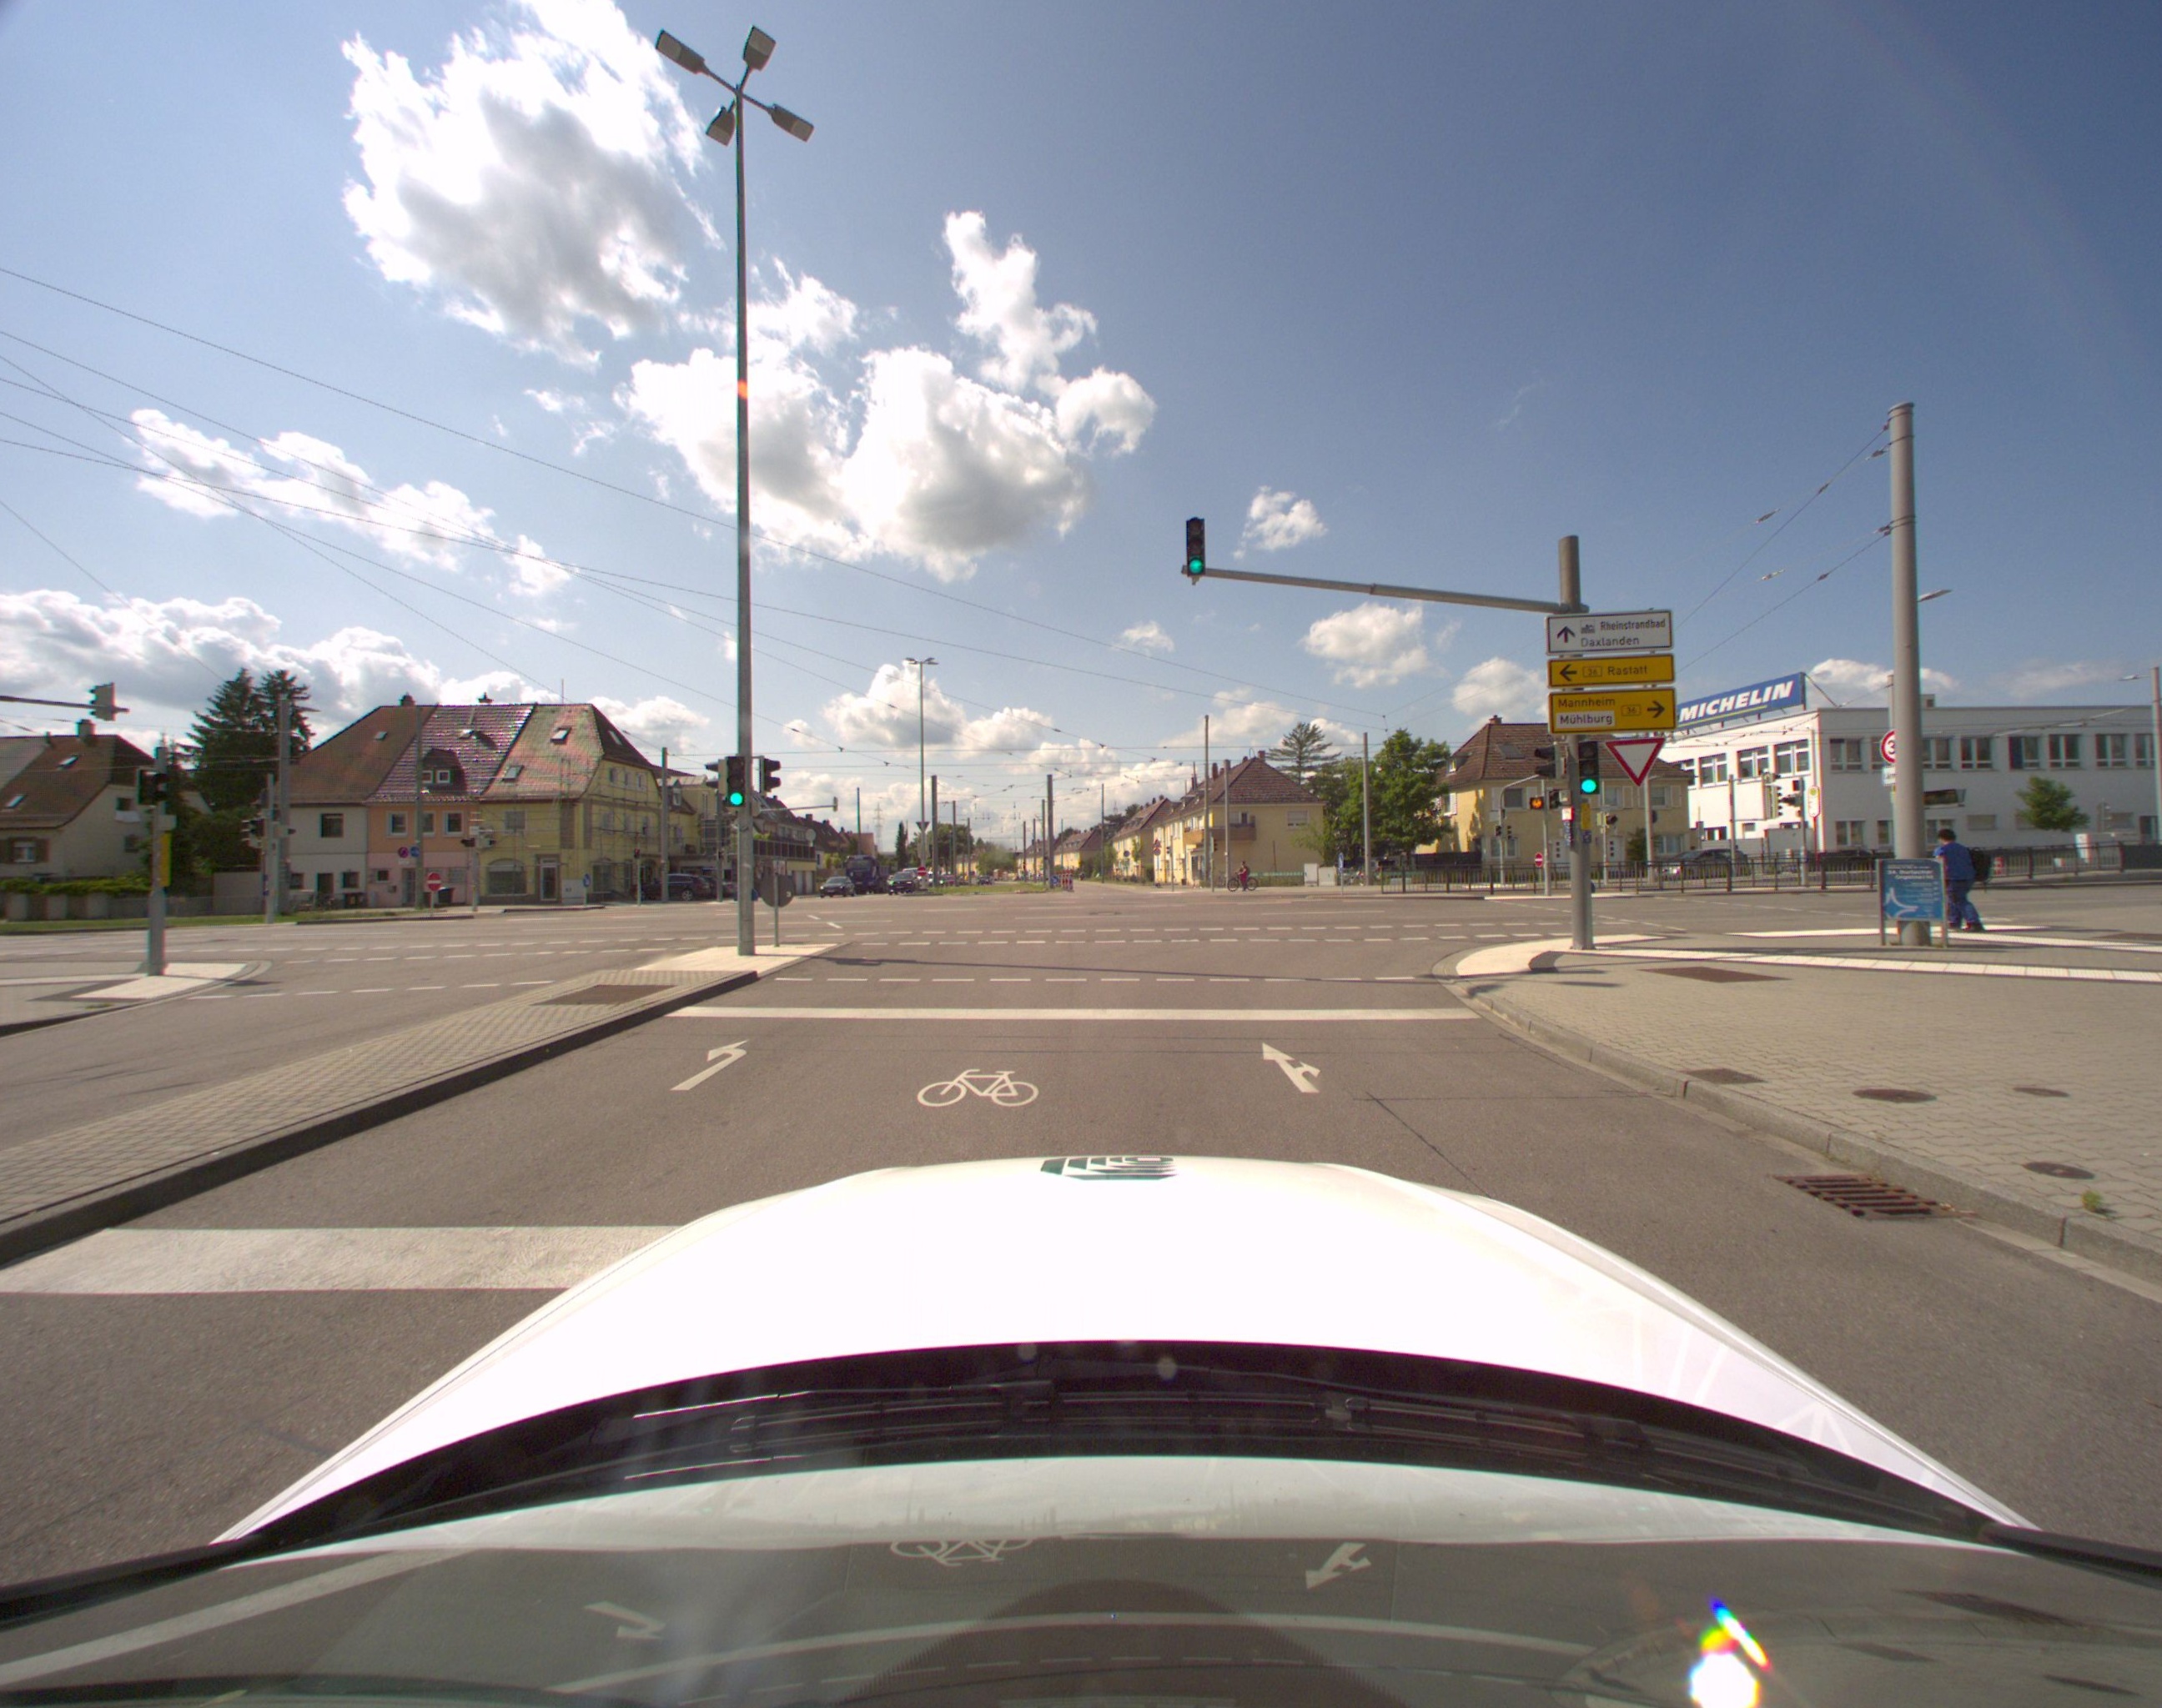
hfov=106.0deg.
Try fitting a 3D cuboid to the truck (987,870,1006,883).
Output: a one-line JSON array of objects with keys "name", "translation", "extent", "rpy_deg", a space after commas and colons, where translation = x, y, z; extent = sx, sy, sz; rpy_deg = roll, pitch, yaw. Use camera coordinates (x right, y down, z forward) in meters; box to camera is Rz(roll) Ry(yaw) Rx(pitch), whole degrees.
[{"name": "truck", "translation": [-22.708, 6.021, 217.678], "extent": [2.651, 3.494, 9.368], "rpy_deg": [-1, -2, -22]}]

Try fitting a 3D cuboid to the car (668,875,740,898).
[{"name": "car", "translation": [-25.490, 2.212, 55.183], "extent": [4.129, 1.493, 1.431], "rpy_deg": [1, -1, -7]}]

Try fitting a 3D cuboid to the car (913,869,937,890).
[{"name": "car", "translation": [-14.097, 2.322, 73.769], "extent": [1.731, 1.782, 4.395], "rpy_deg": [-1, -1, -6]}]

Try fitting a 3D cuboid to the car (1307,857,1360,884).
[{"name": "car", "translation": [16.882, 1.134, 54.622], "extent": [1.821, 1.621, 3.988], "rpy_deg": [-1, -3, -8]}]

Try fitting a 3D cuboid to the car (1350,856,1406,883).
[{"name": "car", "translation": [19.673, 1.065, 54.195], "extent": [1.821, 1.621, 3.988], "rpy_deg": [-1, -3, -8]}]

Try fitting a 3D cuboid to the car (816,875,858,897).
[{"name": "car", "translation": [-17.336, 2.245, 58.066], "extent": [1.824, 1.487, 4.328], "rpy_deg": [-1, -2, -3]}]

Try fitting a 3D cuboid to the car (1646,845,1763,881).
[{"name": "car", "translation": [28.891, 0.421, 37.817], "extent": [3.974, 1.568, 1.841], "rpy_deg": [-1, -1, -1]}]

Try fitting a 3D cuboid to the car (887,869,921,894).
[{"name": "car", "translation": [-12.879, 1.976, 59.451], "extent": [1.783, 1.721, 4.433], "rpy_deg": [-1, -1, -5]}]

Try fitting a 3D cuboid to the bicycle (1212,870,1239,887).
[{"name": "bicycle", "translation": [9.643, 1.670, 54.363], "extent": [0.596, 1.096, 2.258], "rpy_deg": [-1, -2, -23]}]

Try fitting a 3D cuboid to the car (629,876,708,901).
[{"name": "car", "translation": [-25.176, 2.090, 49.786], "extent": [4.129, 1.493, 1.176], "rpy_deg": [1, -1, -7]}]

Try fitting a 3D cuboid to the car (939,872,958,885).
[{"name": "car", "translation": [-16.059, 2.996, 98.866], "extent": [1.840, 1.494, 4.847], "rpy_deg": [-1, -1, -5]}]

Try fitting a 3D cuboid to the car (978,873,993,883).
[{"name": "car", "translation": [-16.122, 4.066, 137.136], "extent": [1.812, 1.552, 4.003], "rpy_deg": [-1, -1, 3]}]

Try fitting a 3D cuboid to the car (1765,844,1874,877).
[{"name": "car", "translation": [34.847, 0.306, 38.478], "extent": [3.698, 1.446, 1.576], "rpy_deg": [-1, -1, -1]}]

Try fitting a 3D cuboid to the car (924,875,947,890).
[{"name": "car", "translation": [-14.387, 2.788, 80.718], "extent": [1.912, 1.419, 3.991], "rpy_deg": [-1, -2, -6]}]

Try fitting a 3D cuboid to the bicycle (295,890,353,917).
[{"name": "bicycle", "translation": [-40.888, 2.663, 44.032], "extent": [0.770, 1.356, 2.459], "rpy_deg": [0, -1, 3]}]

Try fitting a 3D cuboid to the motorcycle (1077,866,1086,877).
[{"name": "motorcycle", "translation": [0.073, 2.813, 131.650], "extent": [1.065, 1.635, 2.079], "rpy_deg": [-1, -2, -6]}]

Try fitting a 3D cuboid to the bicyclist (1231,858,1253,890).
[{"name": "bicyclist", "translation": [9.245, 1.149, 46.645], "extent": [0.960, 1.775, 0.714], "rpy_deg": [-1, -2, -21]}]

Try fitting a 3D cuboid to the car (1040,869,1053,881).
[{"name": "car", "translation": [-6.615, 4.046, 157.053], "extent": [2.064, 2.149, 4.864], "rpy_deg": [-1, -2, -8]}]

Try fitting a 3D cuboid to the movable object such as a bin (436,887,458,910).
[{"name": "movable object such as a bin", "translation": [-35.434, 2.474, 45.507], "extent": [0.680, 1.260, 0.681], "rpy_deg": [0, -1, -2]}]

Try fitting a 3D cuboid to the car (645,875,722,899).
[{"name": "car", "translation": [-25.542, 2.133, 52.471], "extent": [4.129, 1.493, 1.504], "rpy_deg": [1, -1, -7]}]

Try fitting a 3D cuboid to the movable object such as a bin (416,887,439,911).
[{"name": "movable object such as a bin", "translation": [-35.458, 2.452, 44.172], "extent": [0.680, 1.260, 0.681], "rpy_deg": [0, -1, -2]}]

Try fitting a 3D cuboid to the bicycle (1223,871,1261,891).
[{"name": "bicycle", "translation": [9.201, 1.529, 46.595], "extent": [2.034, 1.102, 0.710], "rpy_deg": [-1, -2, -21]}]

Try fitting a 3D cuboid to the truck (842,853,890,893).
[{"name": "truck", "translation": [-18.275, 1.645, 69.710], "extent": [2.765, 3.188, 7.565], "rpy_deg": [-1, -2, -6]}]

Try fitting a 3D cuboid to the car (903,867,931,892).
[{"name": "car", "translation": [-13.214, 2.065, 65.878], "extent": [1.812, 1.922, 4.737], "rpy_deg": [-1, -1, -6]}]

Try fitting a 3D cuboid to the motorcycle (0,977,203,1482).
[{"name": "motorcycle", "translation": [-2.927, 0.924, 1.210], "extent": [0.840, 1.128, 2.354], "rpy_deg": [-1, -1, -6]}]

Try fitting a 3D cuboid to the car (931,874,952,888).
[{"name": "car", "translation": [-14.972, 2.932, 87.594], "extent": [1.841, 1.413, 4.905], "rpy_deg": [-1, -1, -6]}]

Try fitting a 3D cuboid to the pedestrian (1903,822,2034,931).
[{"name": "pedestrian", "translation": [14.944, 0.369, 13.751], "extent": [1.027, 1.735, 1.040], "rpy_deg": [-1, -1, -2]}]

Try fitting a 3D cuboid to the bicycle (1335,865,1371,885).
[{"name": "bicycle", "translation": [15.865, 1.242, 47.516], "extent": [1.785, 1.105, 0.707], "rpy_deg": [-2, -2, 41]}]
